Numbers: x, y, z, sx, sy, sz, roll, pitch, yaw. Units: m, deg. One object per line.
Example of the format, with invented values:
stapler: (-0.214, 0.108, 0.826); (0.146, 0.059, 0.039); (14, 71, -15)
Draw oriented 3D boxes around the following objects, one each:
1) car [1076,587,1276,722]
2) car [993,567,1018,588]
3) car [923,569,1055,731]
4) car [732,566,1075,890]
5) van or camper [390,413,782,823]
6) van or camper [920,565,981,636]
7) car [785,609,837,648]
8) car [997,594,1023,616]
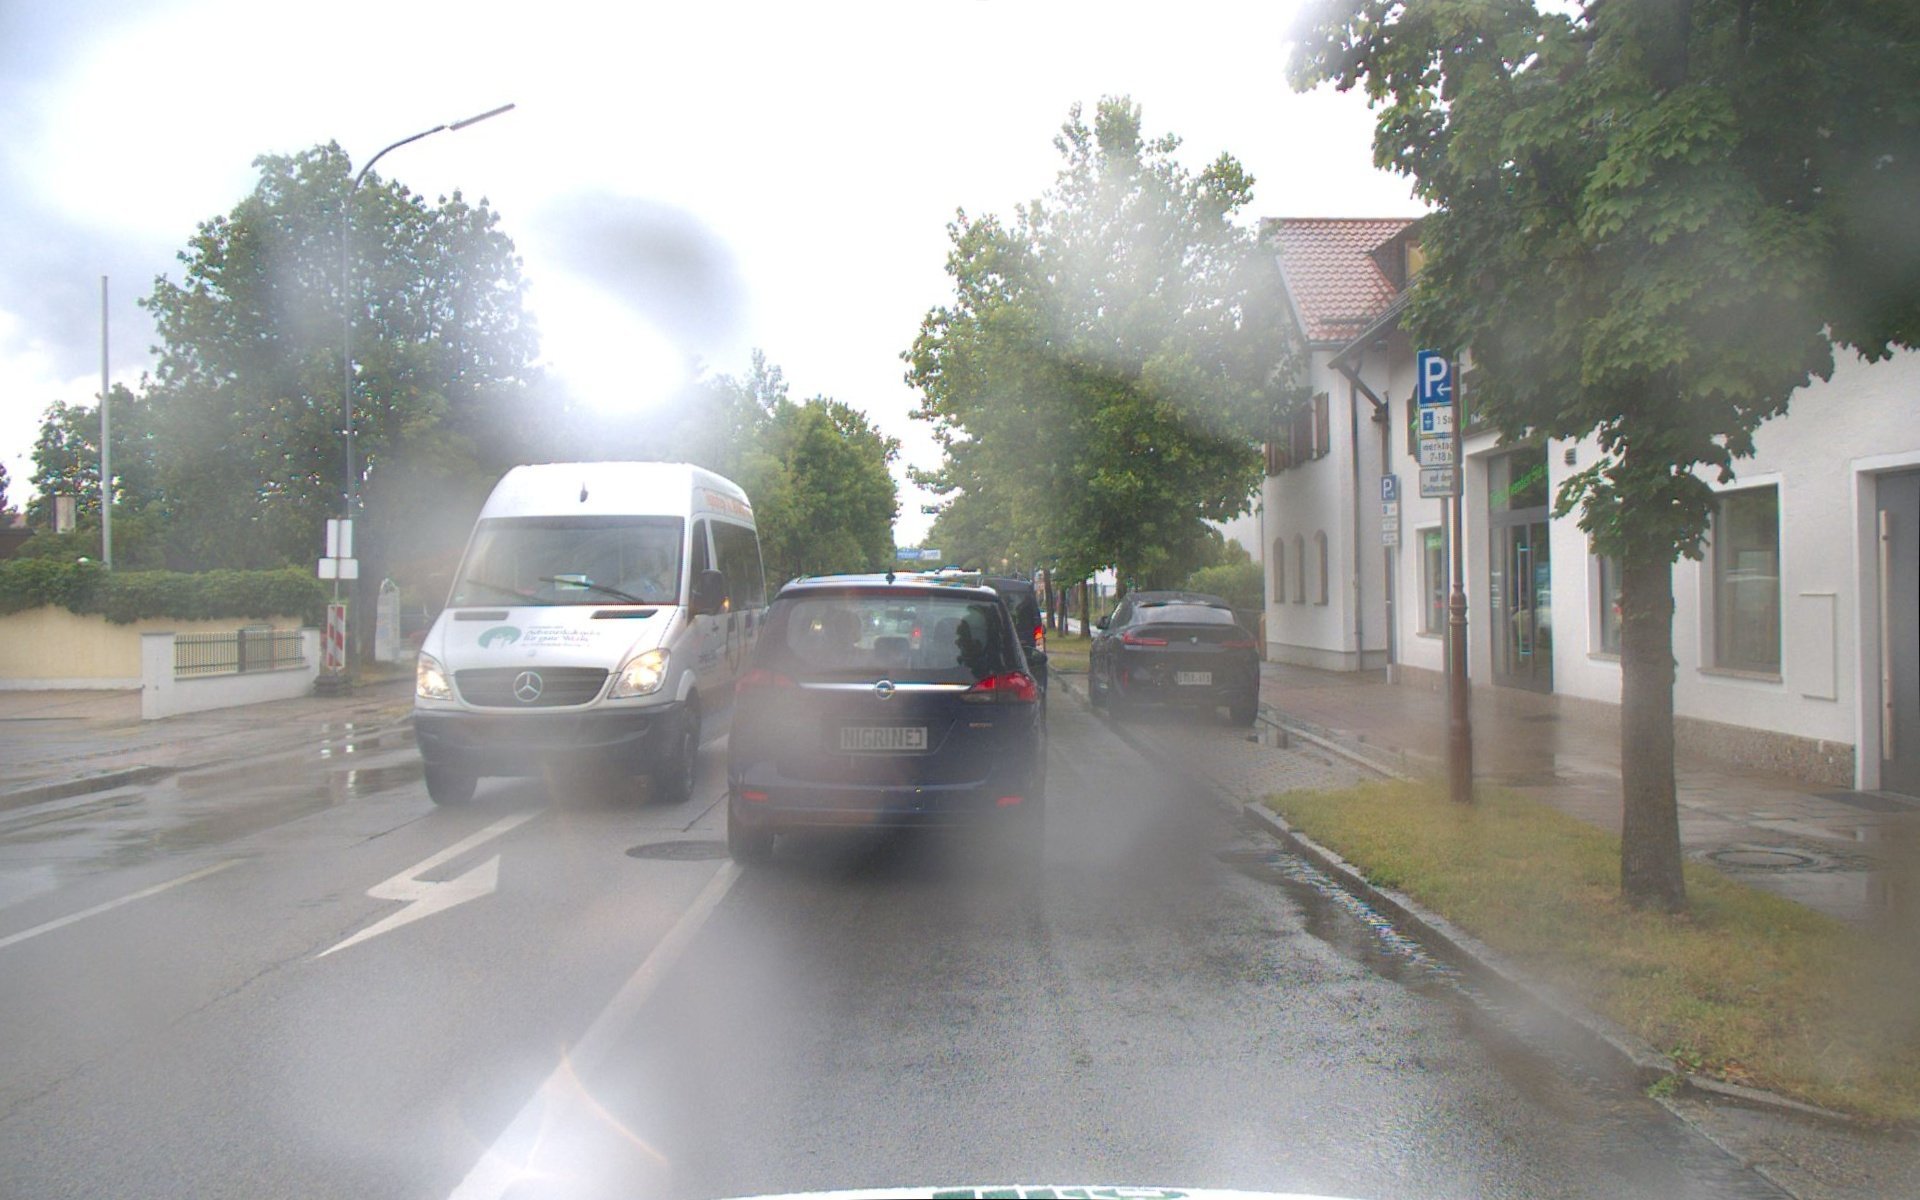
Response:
car: (2.757, 0.677, 22.018); (2.074, 1.609, 3.934); (1, 0, -1)
car: (3.304, -1.610, 120.139); (1.597, 1.402, 3.622); (-2, 0, -1)
car: (0.315, 0.564, 20.111); (1.469, 1.807, 3.111); (0, 0, 0)
car: (-0.297, 0.658, 10.283); (1.732, 1.633, 3.663); (1, 0, 0)
van or camper: (-2.881, 0.119, 14.398); (2.051, 2.754, 6.267); (-1, 0, -1)
van or camper: (-0.392, 0.010, 66.970); (2.312, 2.712, 5.371); (-1, 0, 0)
car: (-5.859, 1.110, 65.302); (1.548, 1.400, 4.184); (-2, 0, 1)
car: (3.333, 0.350, 110.780); (1.597, 1.402, 3.622); (0, -1, -1)
